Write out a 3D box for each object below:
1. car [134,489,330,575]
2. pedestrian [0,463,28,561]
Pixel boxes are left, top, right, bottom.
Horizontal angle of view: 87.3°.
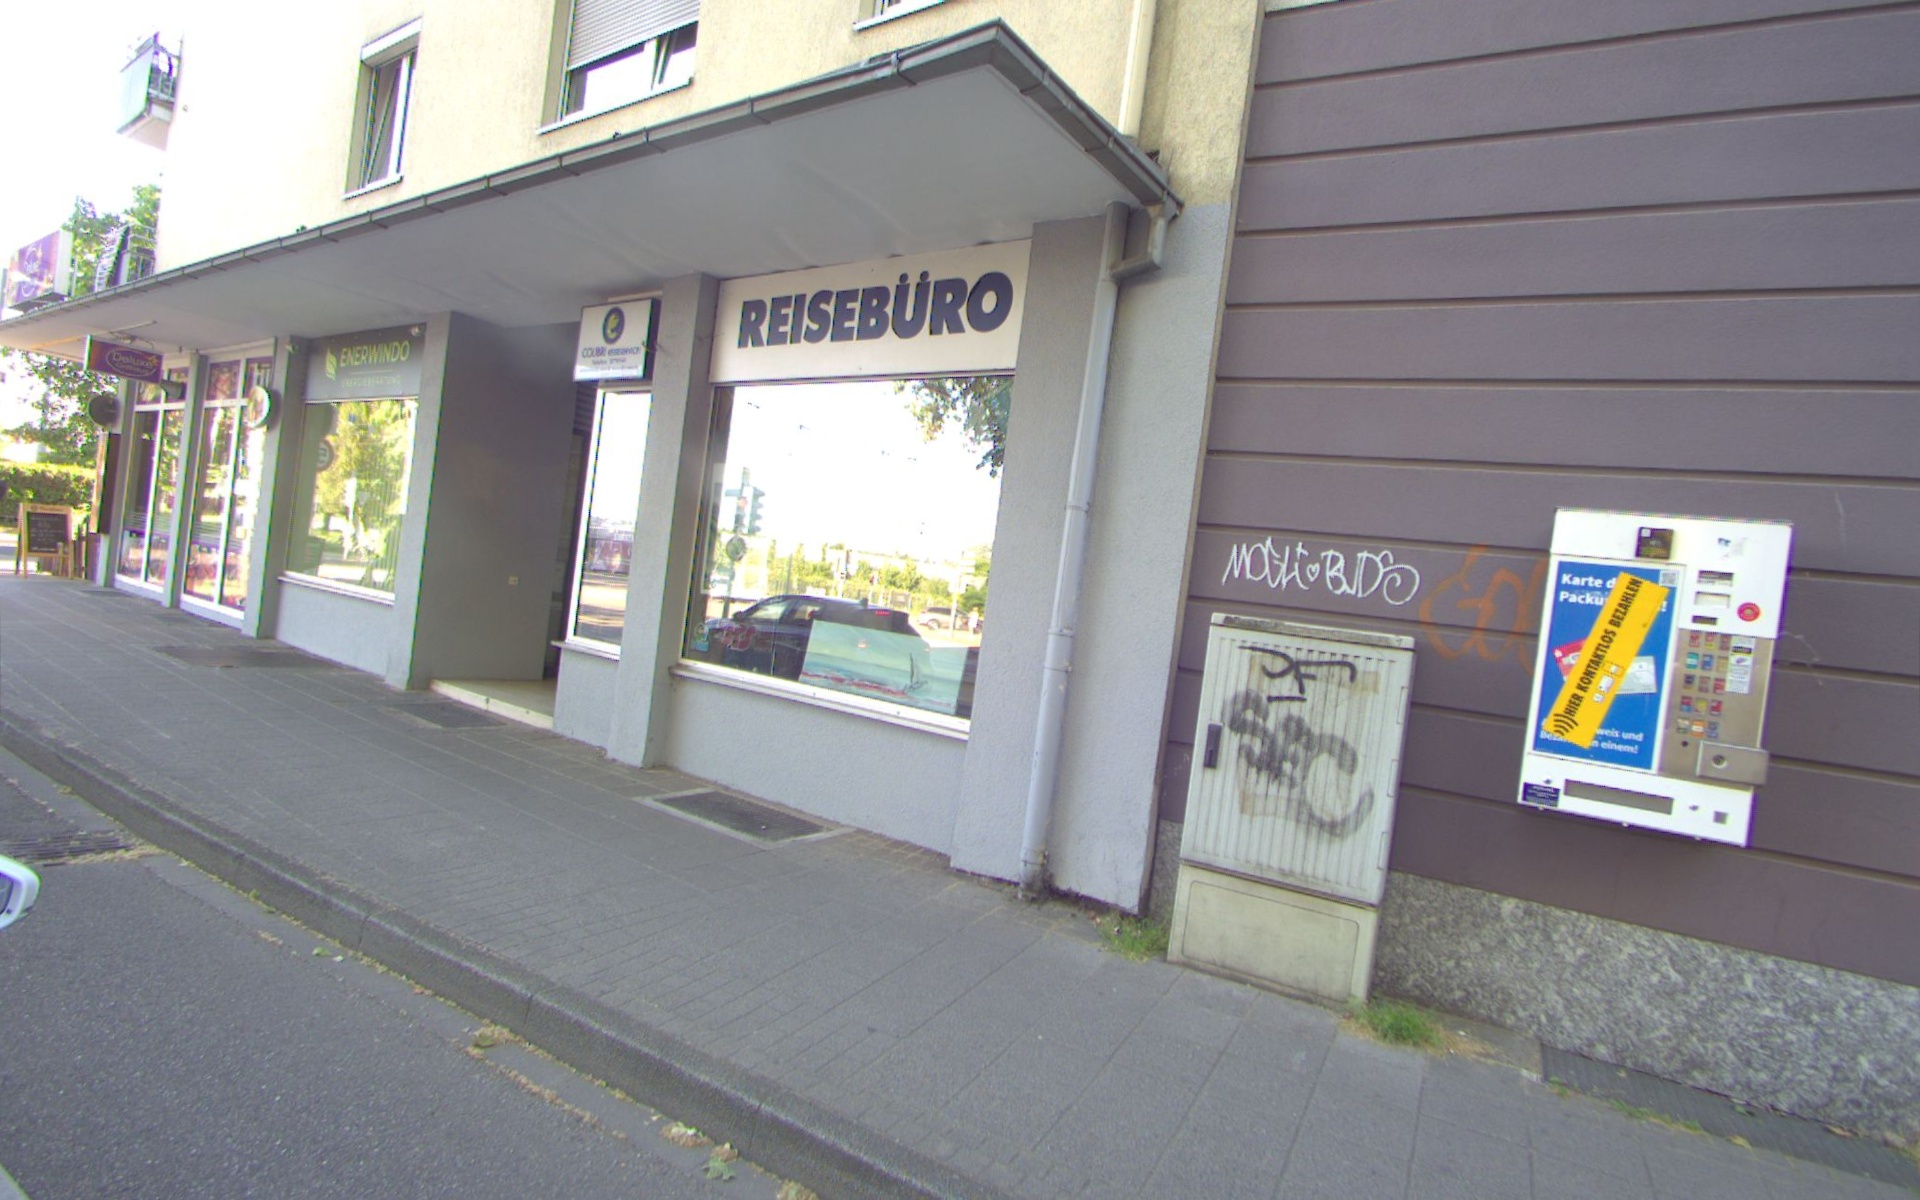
[{"bbox_3d":[-20.898,-1.889,29.027,1.781,1.835,4.172,4,-3,40],"label":"car"},{"bbox_3d":[-18.945,-1.746,19.652,0.695,1.869,0.698,7,1,-19],"label":"pedestrian"}]
